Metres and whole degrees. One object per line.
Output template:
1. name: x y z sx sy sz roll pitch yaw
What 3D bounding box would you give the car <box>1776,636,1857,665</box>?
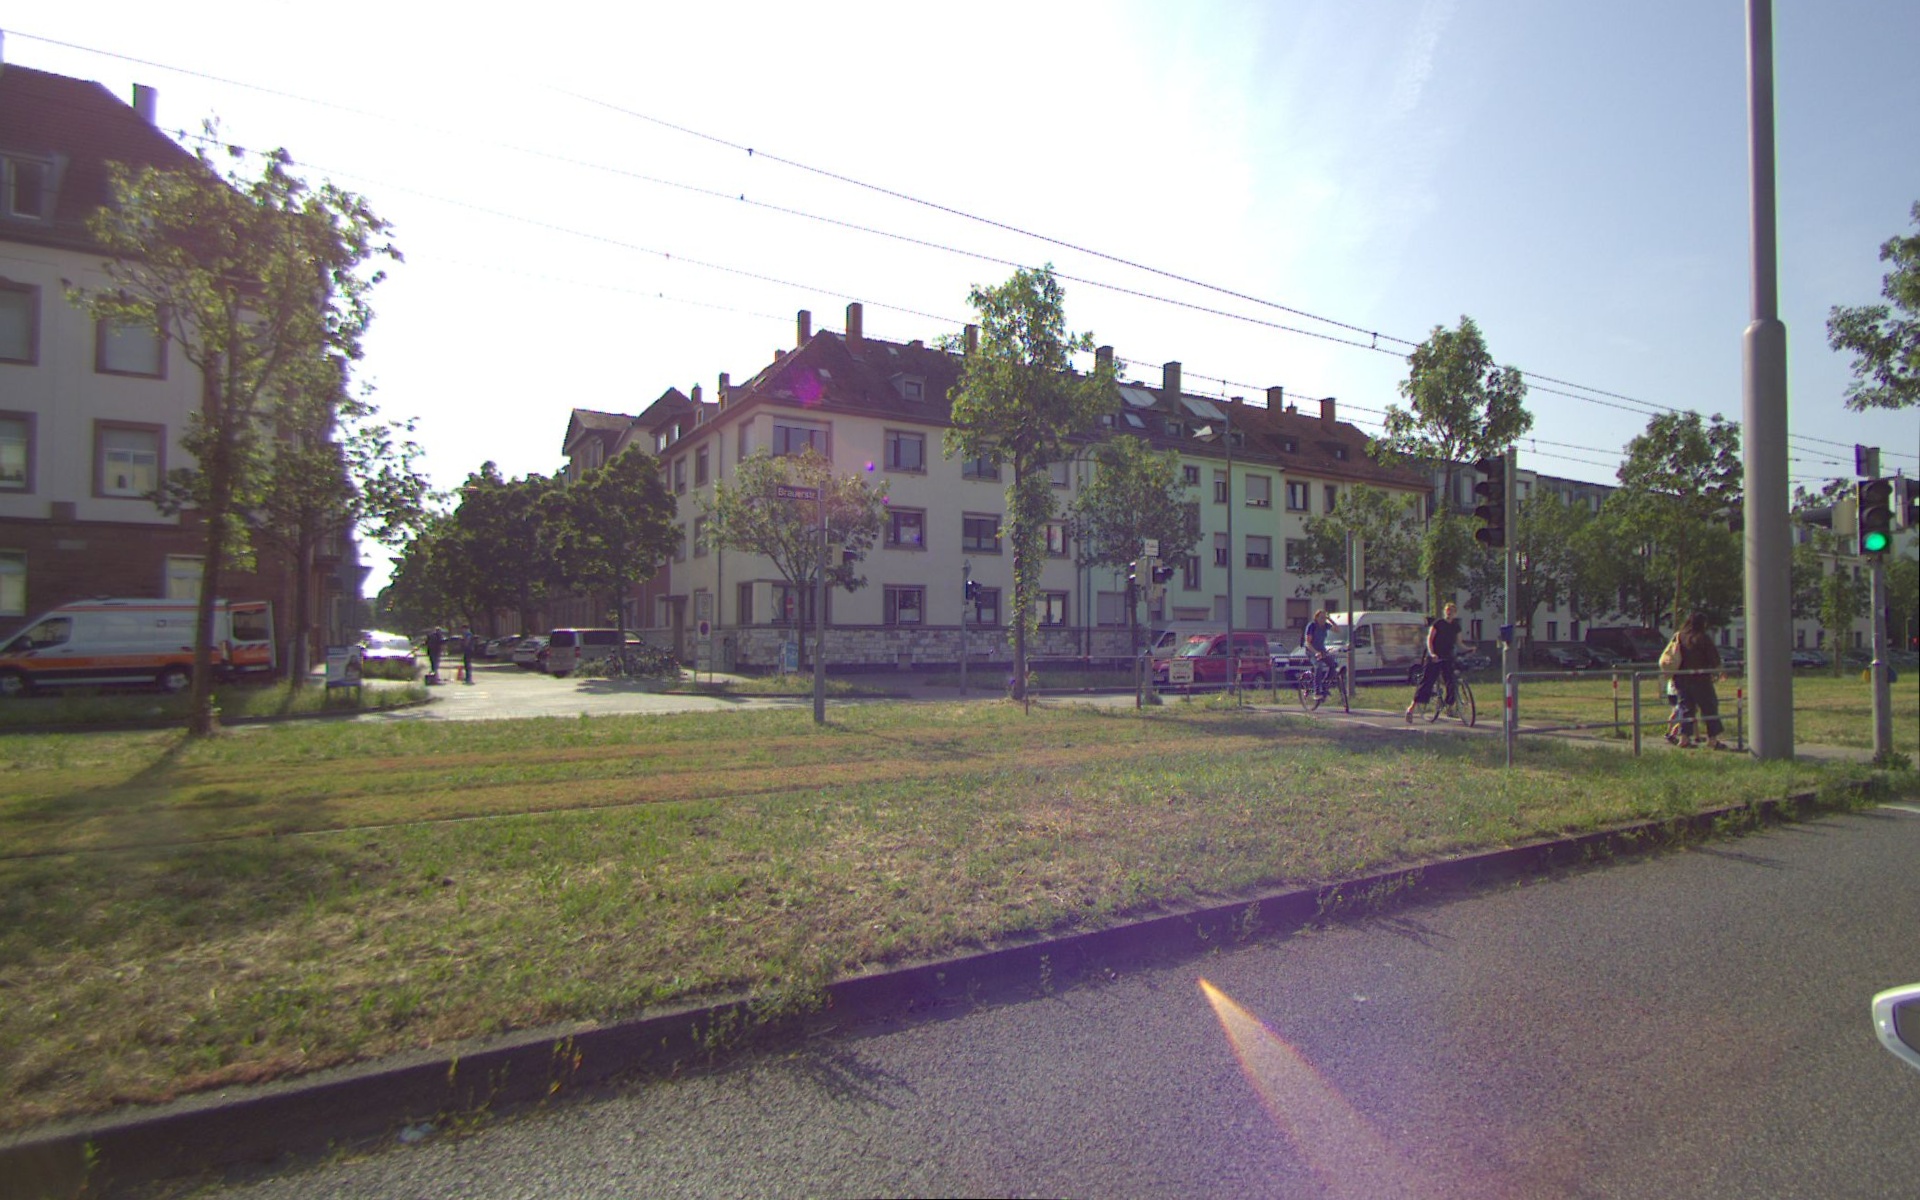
1. car: 55.323 3.229 64.975 1.624 1.617 3.997 2 0 -5

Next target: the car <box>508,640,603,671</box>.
1. car: -19.863 2.688 49.389 3.989 1.389 1.695 2 0 -38

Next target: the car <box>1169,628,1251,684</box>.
1. car: 9.219 2.024 37.490 1.960 1.761 5.329 2 0 3

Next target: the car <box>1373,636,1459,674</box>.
1. car: 19.941 2.363 44.084 1.686 1.431 3.997 2 0 -5

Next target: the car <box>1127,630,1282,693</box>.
1. car: 7.287 1.807 29.943 4.242 1.716 1.957 2 0 -28

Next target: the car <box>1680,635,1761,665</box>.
1. car: 44.172 2.871 58.432 1.436 1.550 3.997 2 0 -5

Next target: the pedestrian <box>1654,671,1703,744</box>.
1. pedestrian: 9.235 1.374 12.907 0.455 0.887 0.339 2 0 -30

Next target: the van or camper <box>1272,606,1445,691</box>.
1. van or camper: 13.306 1.583 33.402 5.963 2.565 2.191 2 0 -32

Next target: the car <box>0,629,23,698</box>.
1. car: -19.839 1.245 18.834 1.467 1.344 3.166 2 0 3

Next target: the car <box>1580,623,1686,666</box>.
1. car: 35.804 2.336 53.651 1.841 2.040 5.231 2 0 -5

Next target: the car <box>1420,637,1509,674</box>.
1. car: 22.376 2.437 44.744 1.686 1.431 3.997 2 0 -5

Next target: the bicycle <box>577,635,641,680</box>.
1. bicycle: -12.237 1.985 35.141 0.961 1.378 3.060 2 0 3

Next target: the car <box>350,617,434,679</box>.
1. car: -20.484 1.666 36.145 1.997 1.965 4.623 2 0 -37

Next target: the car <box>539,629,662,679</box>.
1. car: -14.279 2.083 40.108 1.981 1.790 4.322 1 0 31

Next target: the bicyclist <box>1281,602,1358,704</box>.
1. bicyclist: 6.601 0.947 18.478 0.679 1.785 1.140 2 0 -32

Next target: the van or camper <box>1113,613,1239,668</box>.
1. van or camper: 9.954 1.873 46.169 5.758 2.359 1.984 2 0 -29

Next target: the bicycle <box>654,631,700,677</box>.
1. bicycle: -10.182 1.915 36.040 1.089 1.481 2.663 2 0 -27

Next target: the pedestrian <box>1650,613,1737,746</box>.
1. pedestrian: 9.180 0.971 12.572 0.702 1.592 0.622 2 0 -30

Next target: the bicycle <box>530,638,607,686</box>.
1. bicycle: -13.640 2.122 35.170 0.912 1.481 3.222 2 0 10

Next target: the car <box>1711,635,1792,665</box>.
1. car: 46.897 2.957 59.606 1.436 1.550 3.997 2 0 -5

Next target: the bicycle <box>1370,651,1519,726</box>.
1. bicycle: 7.393 1.321 15.447 0.660 1.056 2.057 2 -3 -29

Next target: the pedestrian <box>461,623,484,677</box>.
1. pedestrian: -15.725 1.600 32.378 0.611 1.688 0.579 2 0 -27

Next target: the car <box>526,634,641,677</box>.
1. car: -16.574 2.411 44.327 4.352 1.704 1.978 2 0 -38

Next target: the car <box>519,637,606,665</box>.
1. car: -21.026 2.682 53.210 3.989 1.389 1.695 2 0 -38

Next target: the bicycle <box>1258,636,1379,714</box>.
1. bicycle: 6.564 1.351 18.514 0.775 1.341 2.055 1 -3 -32

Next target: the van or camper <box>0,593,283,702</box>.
1. van or camper: -21.564 1.206 26.243 6.286 2.601 2.028 2 0 -32

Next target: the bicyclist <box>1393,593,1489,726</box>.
1. bicyclist: 7.390 0.903 15.472 0.678 1.959 1.142 2 -3 -29

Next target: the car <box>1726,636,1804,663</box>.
1. car: 50.605 3.090 63.251 1.436 1.550 3.997 2 0 -5

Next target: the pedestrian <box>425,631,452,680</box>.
1. pedestrian: -16.653 1.771 32.106 0.717 1.543 0.635 2 0 -27
